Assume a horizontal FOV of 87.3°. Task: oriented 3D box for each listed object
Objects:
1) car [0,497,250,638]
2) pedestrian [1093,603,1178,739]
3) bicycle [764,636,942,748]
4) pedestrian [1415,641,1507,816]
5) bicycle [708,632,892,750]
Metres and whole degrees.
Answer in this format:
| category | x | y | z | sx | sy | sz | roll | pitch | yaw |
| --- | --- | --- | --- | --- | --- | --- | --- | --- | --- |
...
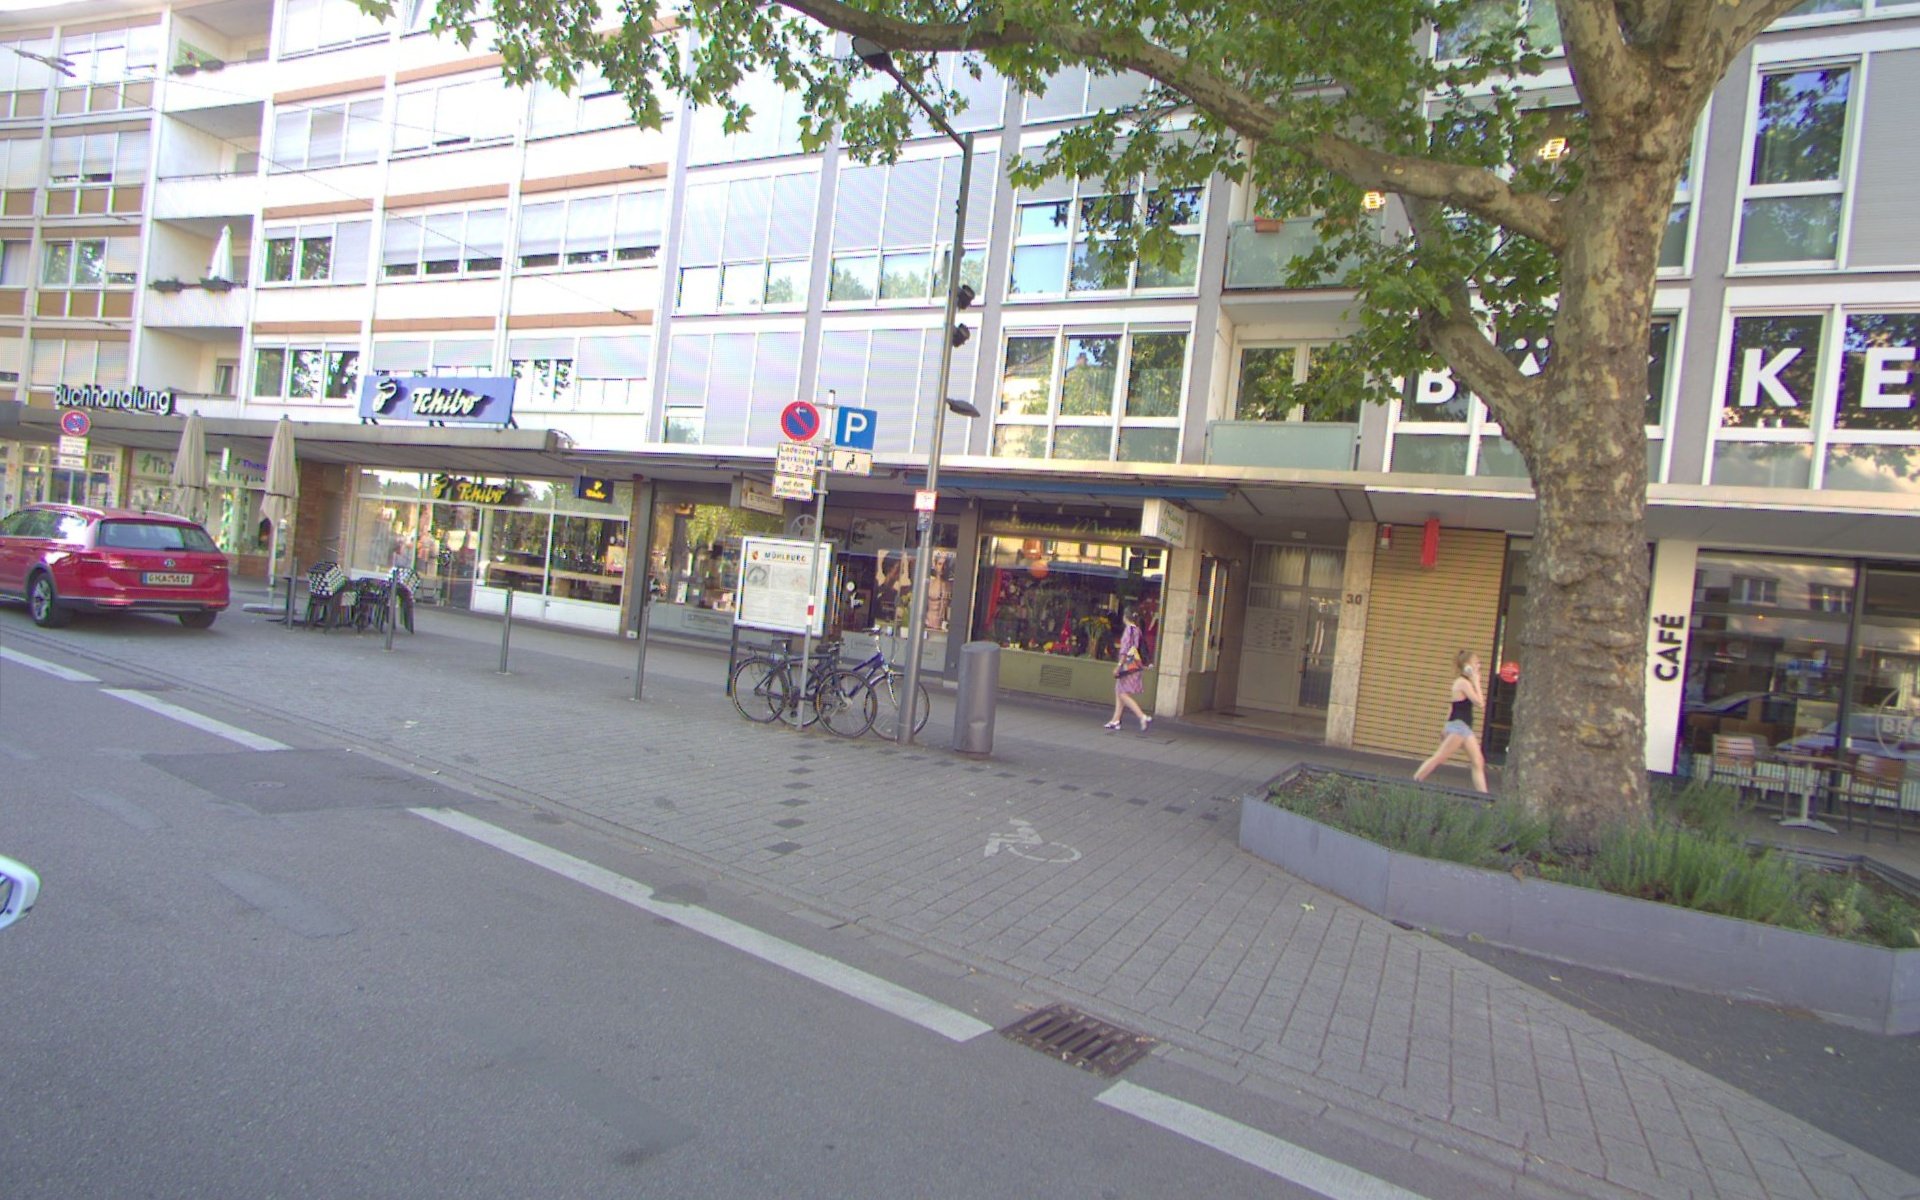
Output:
| category | x | y | z | sx | sy | sz | roll | pitch | yaw |
| --- | --- | --- | --- | --- | --- | --- | --- | --- | --- |
| car | -11.652 | -0.488 | 13.448 | 4.229 | 1.502 | 1.772 | 6 | 1 | 28 |
| pedestrian | 2.259 | 0.894 | 12.927 | 0.776 | 1.613 | 0.651 | 7 | 2 | 26 |
| bicycle | -1.123 | 0.945 | 10.556 | 1.743 | 0.931 | 0.391 | 6 | 2 | 12 |
| pedestrian | 4.930 | 1.239 | 9.929 | 0.631 | 1.596 | 0.560 | 7 | 1 | 26 |
| bicycle | -1.626 | 0.904 | 10.215 | 1.743 | 0.951 | 0.391 | 6 | 2 | 12 |
